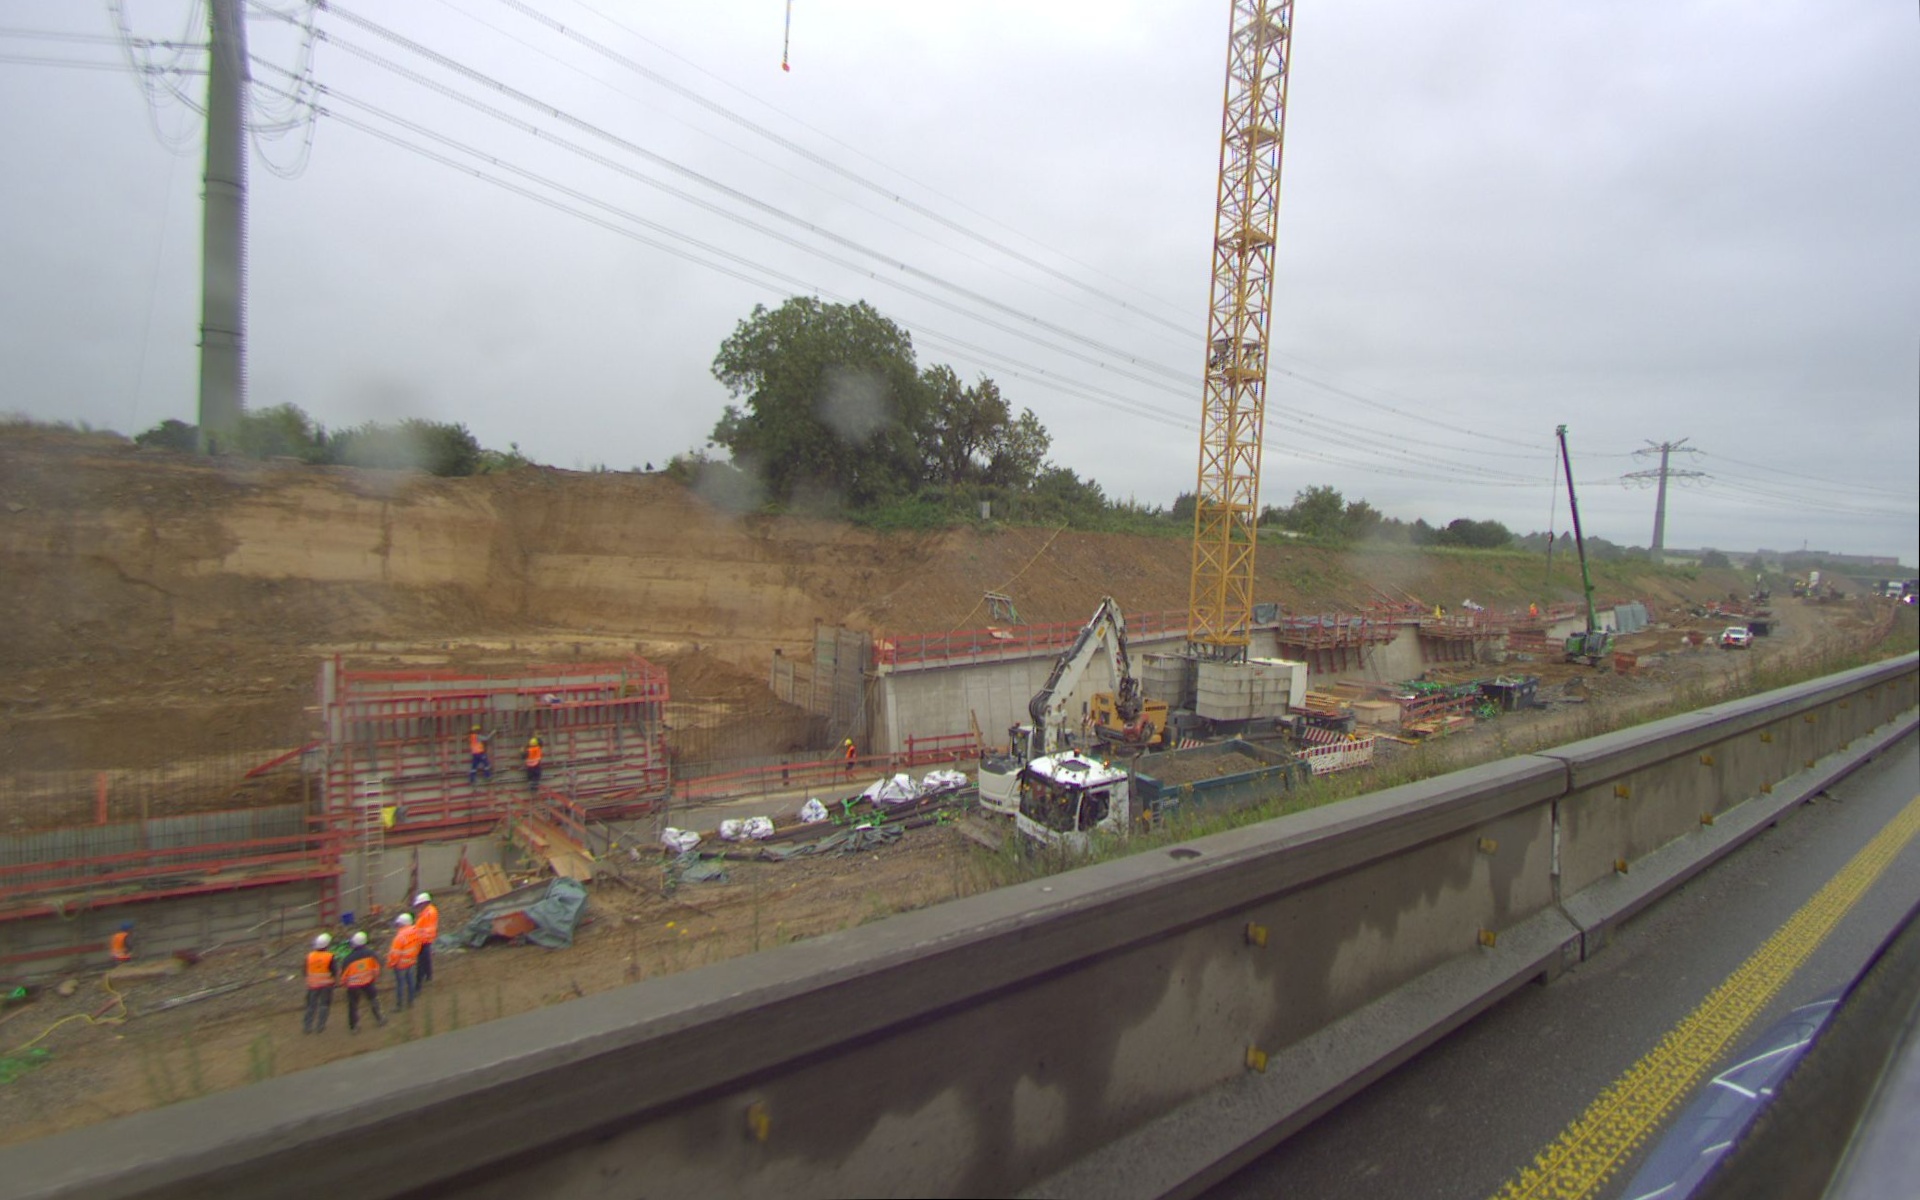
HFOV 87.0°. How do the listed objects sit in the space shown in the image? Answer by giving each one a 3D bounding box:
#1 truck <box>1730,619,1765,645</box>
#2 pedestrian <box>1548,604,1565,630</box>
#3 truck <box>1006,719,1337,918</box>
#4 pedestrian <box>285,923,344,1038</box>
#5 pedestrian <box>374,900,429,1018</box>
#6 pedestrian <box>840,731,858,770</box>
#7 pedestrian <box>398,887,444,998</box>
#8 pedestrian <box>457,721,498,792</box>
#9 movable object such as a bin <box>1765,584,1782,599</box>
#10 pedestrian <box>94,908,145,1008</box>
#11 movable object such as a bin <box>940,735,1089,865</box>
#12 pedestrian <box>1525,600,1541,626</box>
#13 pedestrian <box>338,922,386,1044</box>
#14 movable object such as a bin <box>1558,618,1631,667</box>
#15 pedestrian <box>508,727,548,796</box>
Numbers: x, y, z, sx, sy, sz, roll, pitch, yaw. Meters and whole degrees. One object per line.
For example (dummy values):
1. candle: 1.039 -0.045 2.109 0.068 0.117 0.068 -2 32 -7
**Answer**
1. truck: 69.790 2.821 89.672 1.763 1.894 5.694 4 4 44
2. pedestrian: 54.786 1.576 92.896 0.989 2.260 0.916 -2 -2 -41
3. truck: 5.631 5.315 26.179 8.768 3.547 2.711 -1 1 -29
4. pedestrian: -11.956 7.038 18.762 0.720 1.893 0.576 0 1 -4
5. pedestrian: -10.788 6.916 19.571 0.568 1.968 0.730 0 1 21
6. pedestrian: -4.318 5.852 39.347 0.392 1.455 0.424 -1 -8 -38
7. pedestrian: -10.880 6.898 20.447 0.564 1.968 0.736 0 1 -3
8. pedestrian: -14.927 4.844 31.305 0.882 2.027 0.904 -1 -9 -36
9. movable object such as a bin: 148.801 -1.598 185.103 2.244 2.753 3.941 0 1 41
10. pedestrian: -20.361 8.644 24.535 0.889 2.027 0.897 -1 -9 -37
11. movable object such as a bin: 1.544 5.568 28.924 2.917 2.772 3.155 -1 1 -41
12. pedestrian: 51.726 1.188 91.308 0.914 2.275 0.991 -5 -2 41
13. pedestrian: -11.031 7.035 18.669 0.721 1.893 0.575 -1 1 -34
14. movable object such as a bin: 47.868 3.158 76.341 3.793 2.836 4.783 2 7 44
15. pedestrian: -13.738 5.136 32.189 0.882 2.027 0.904 -1 -9 -36
